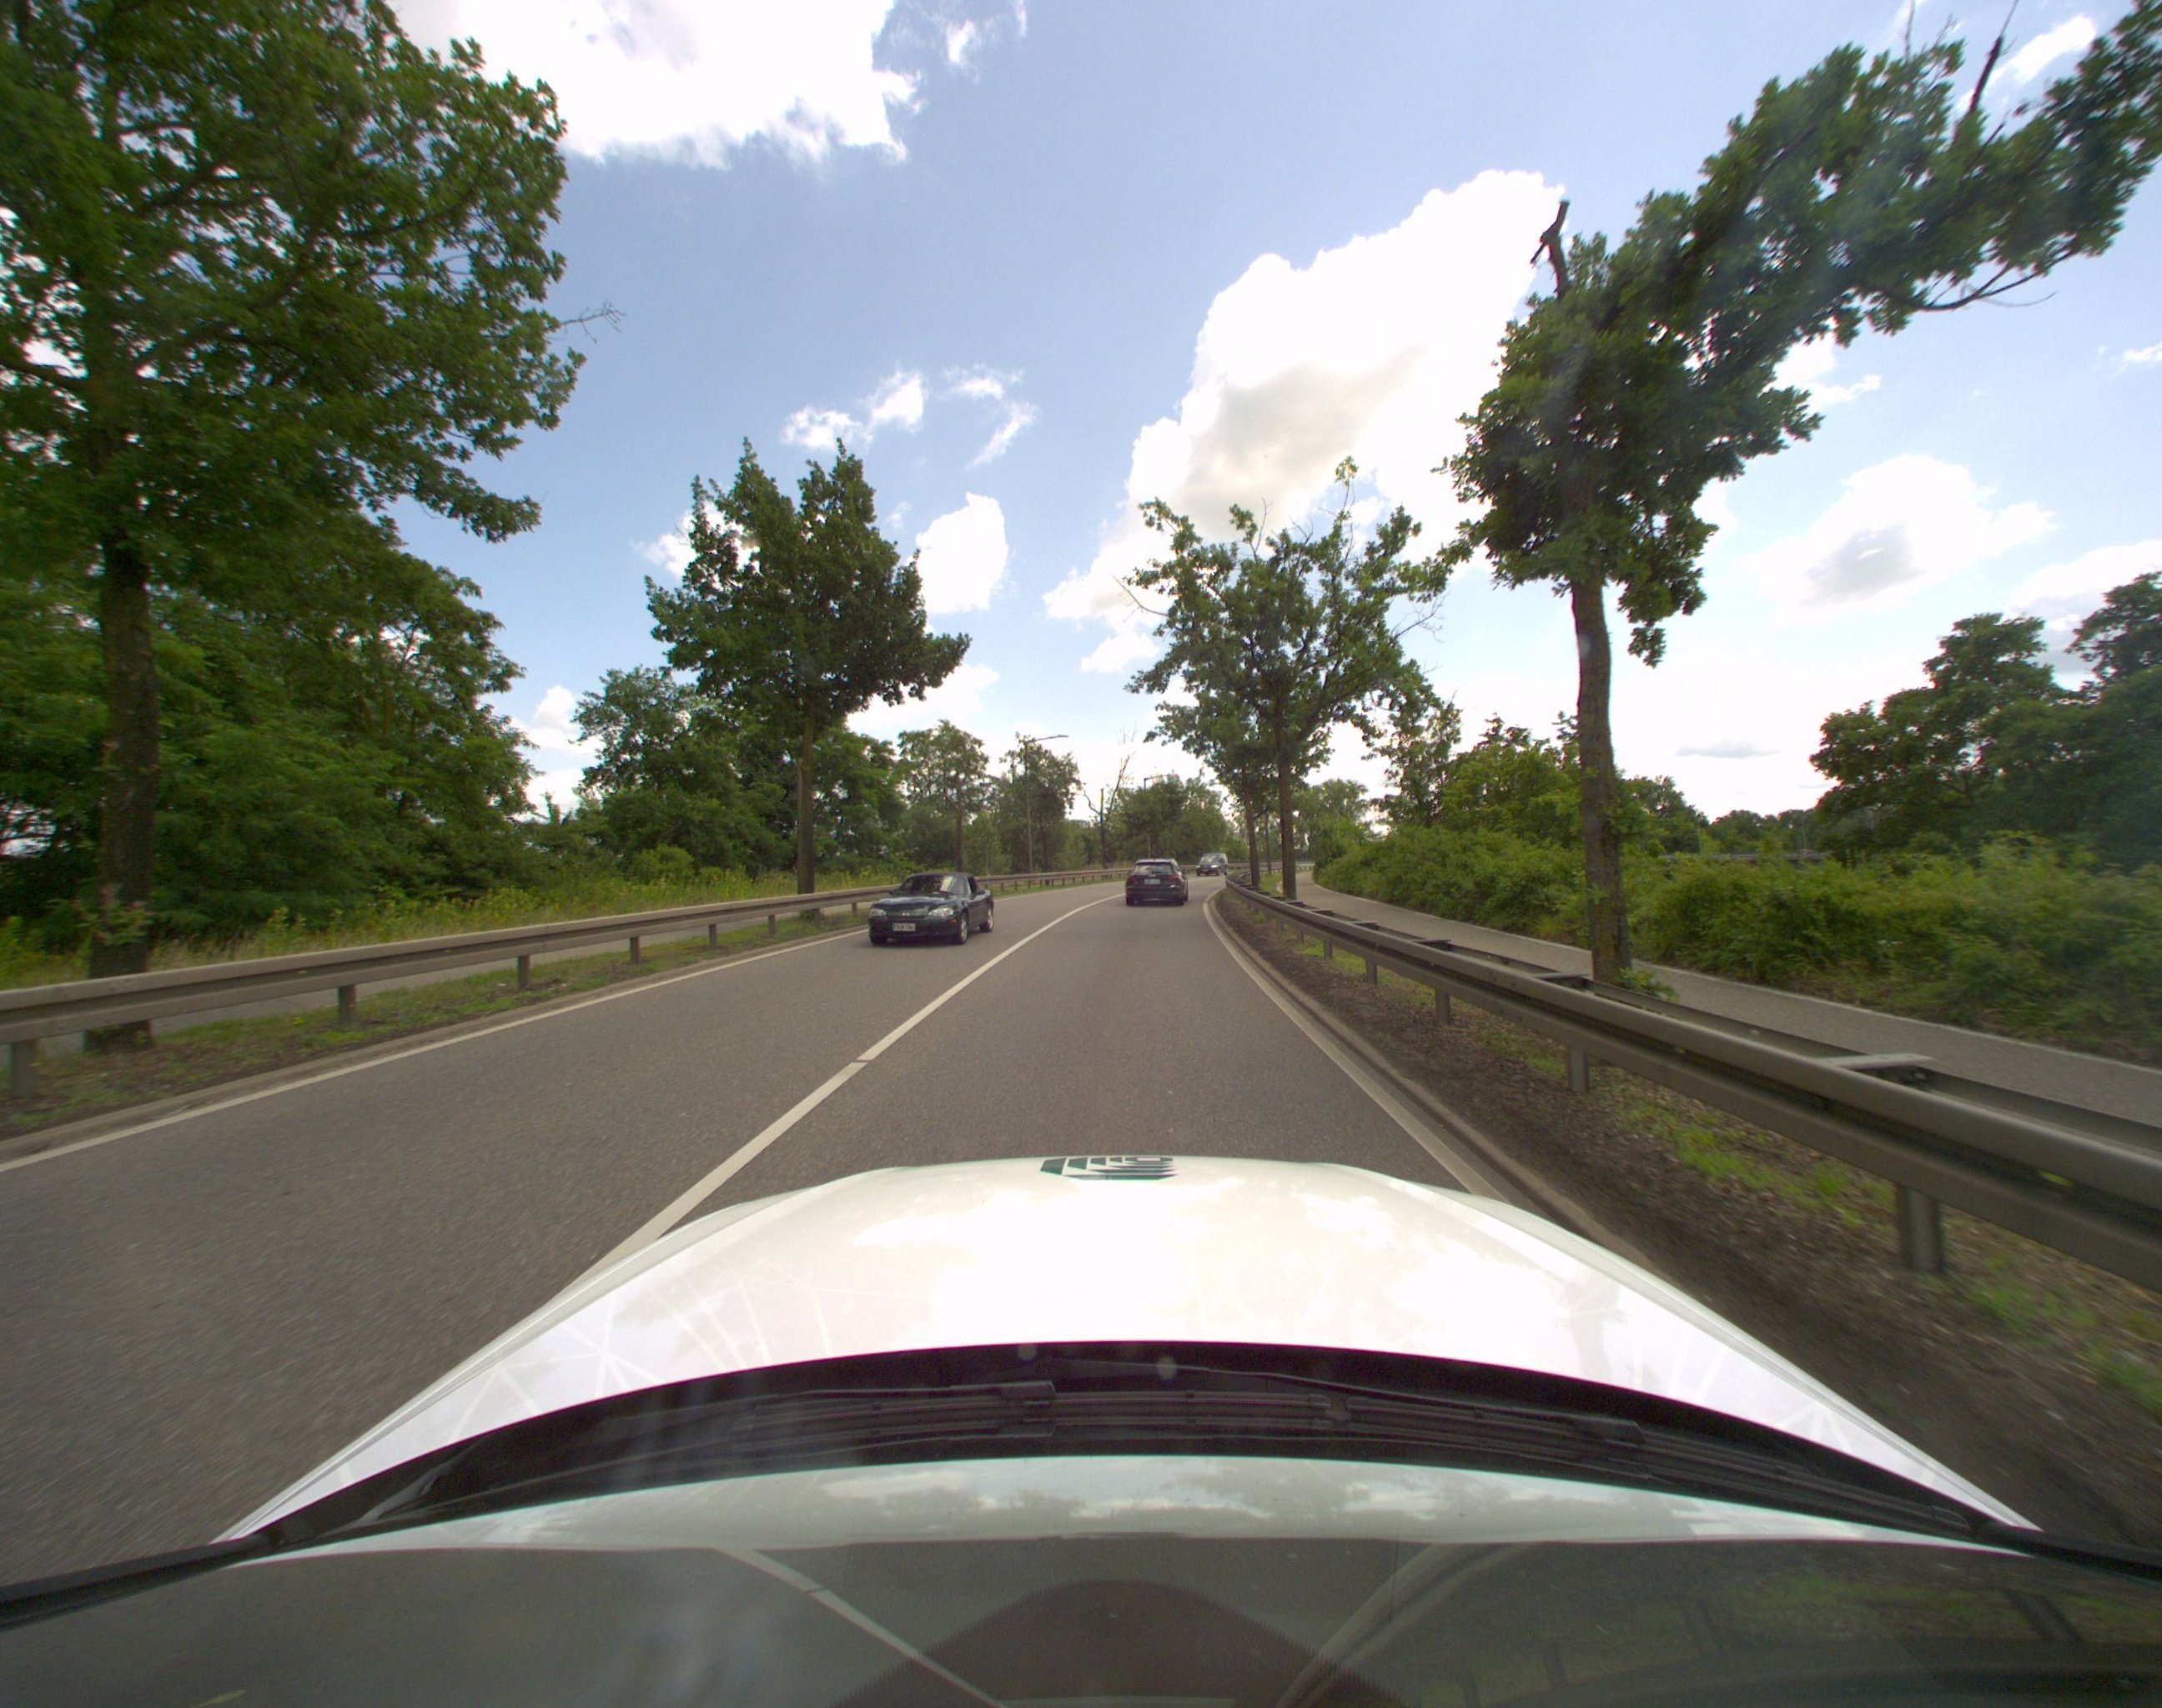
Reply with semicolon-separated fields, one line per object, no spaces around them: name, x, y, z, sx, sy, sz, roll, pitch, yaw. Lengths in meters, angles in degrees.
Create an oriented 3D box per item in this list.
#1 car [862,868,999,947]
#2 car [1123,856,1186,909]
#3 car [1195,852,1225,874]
car;-2.647;0.906;15.181;1.585;1.218;3.794;-1;0;4
car;2.314;0.850;26.143;1.820;1.491;4.211;-1;0;4
car;10.400;0.695;65.316;1.838;1.709;4.330;0;0;16
